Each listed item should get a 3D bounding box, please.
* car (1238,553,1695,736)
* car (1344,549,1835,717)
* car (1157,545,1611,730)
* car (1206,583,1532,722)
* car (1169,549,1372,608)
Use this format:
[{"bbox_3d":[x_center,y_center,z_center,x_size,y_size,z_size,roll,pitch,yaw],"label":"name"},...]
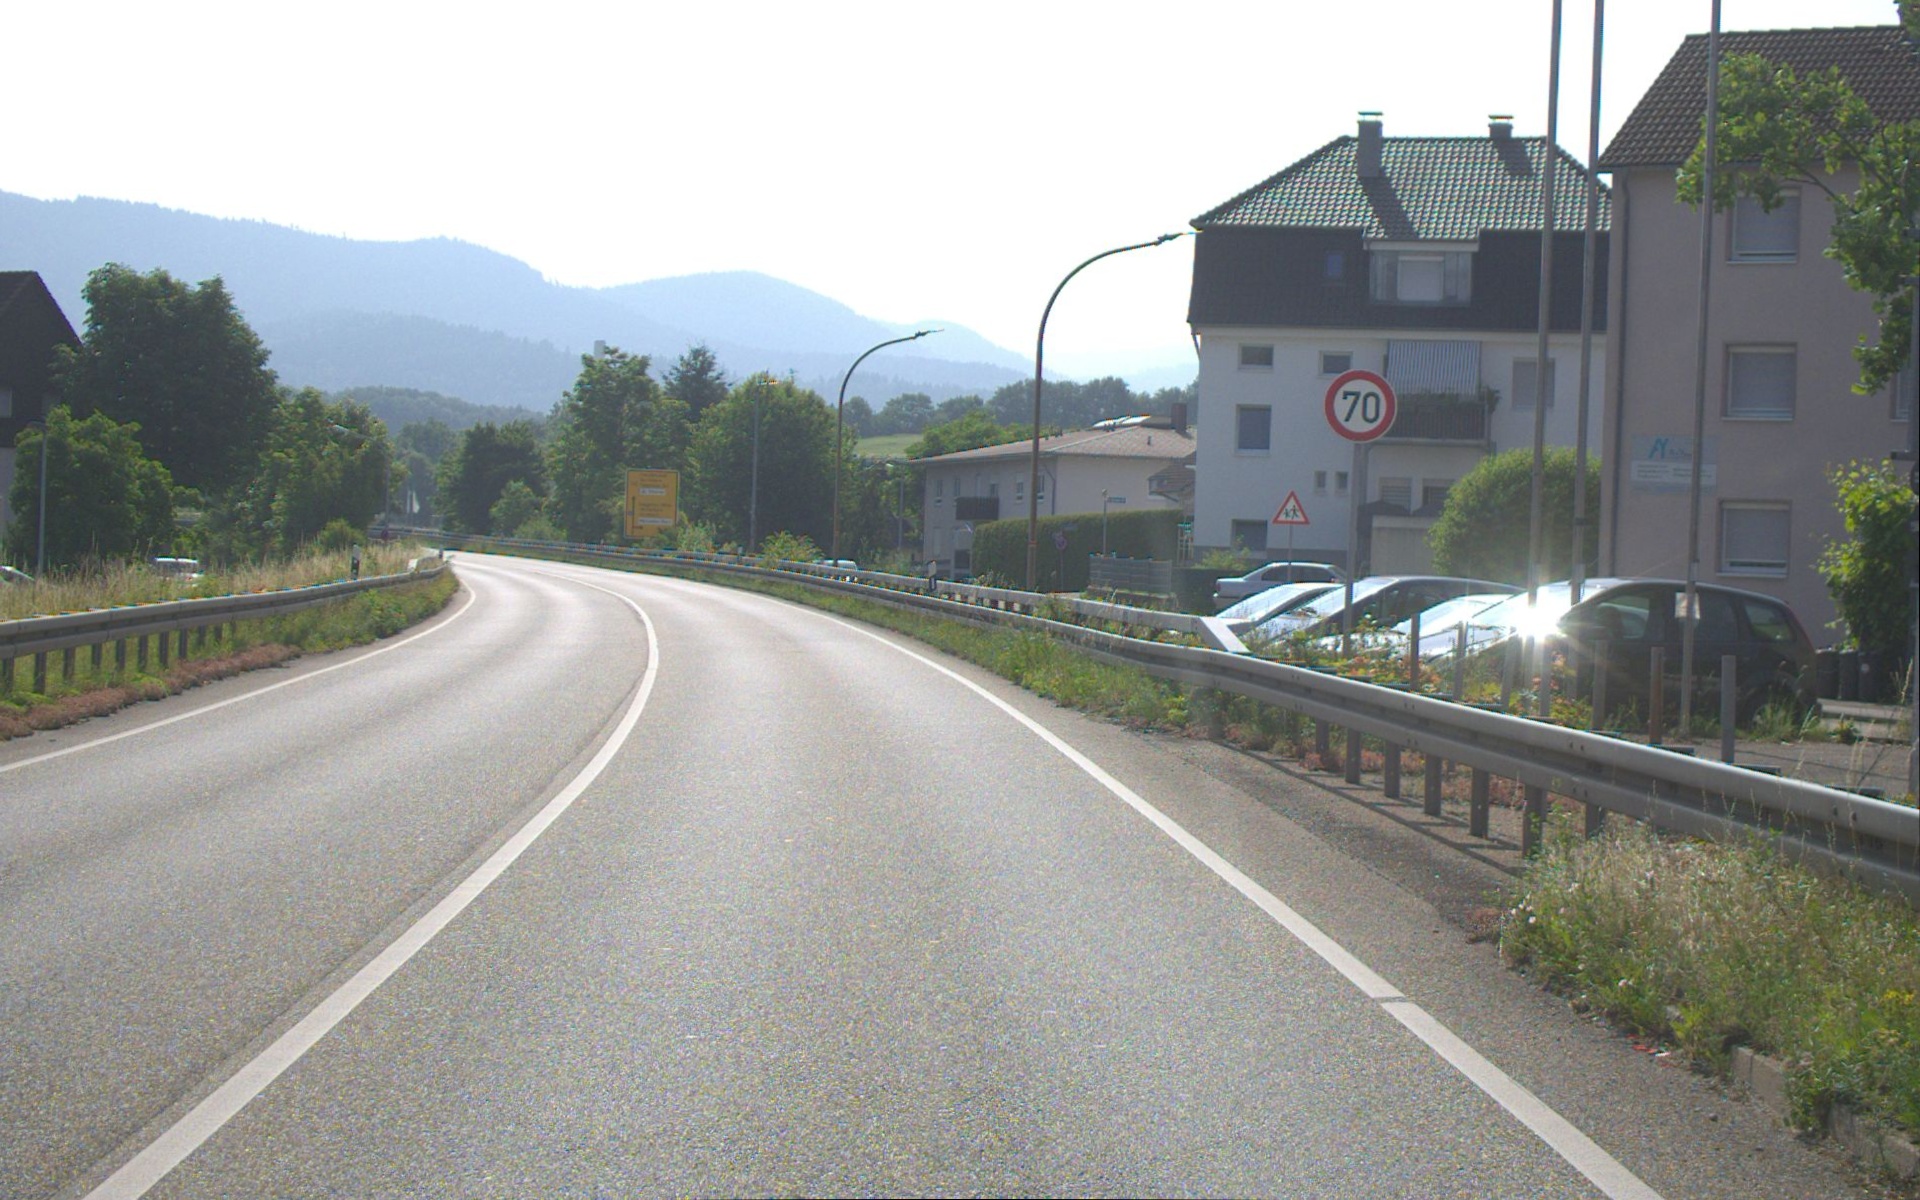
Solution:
[{"bbox_3d":[4.953,0.430,33.811,3.986,1.444,1.765,5,0,-13],"label":"car"},{"bbox_3d":[5.735,0.296,31.404,4.056,1.447,1.729,1,0,-19],"label":"car"},{"bbox_3d":[4.446,0.391,36.267,4.232,1.567,1.919,5,-1,-15],"label":"car"},{"bbox_3d":[4.628,0.589,39.009,3.262,1.372,1.550,4,-1,-15],"label":"car"},{"bbox_3d":[7.522,-0.532,83.251,4.601,1.343,1.753,1,2,21],"label":"car"}]
